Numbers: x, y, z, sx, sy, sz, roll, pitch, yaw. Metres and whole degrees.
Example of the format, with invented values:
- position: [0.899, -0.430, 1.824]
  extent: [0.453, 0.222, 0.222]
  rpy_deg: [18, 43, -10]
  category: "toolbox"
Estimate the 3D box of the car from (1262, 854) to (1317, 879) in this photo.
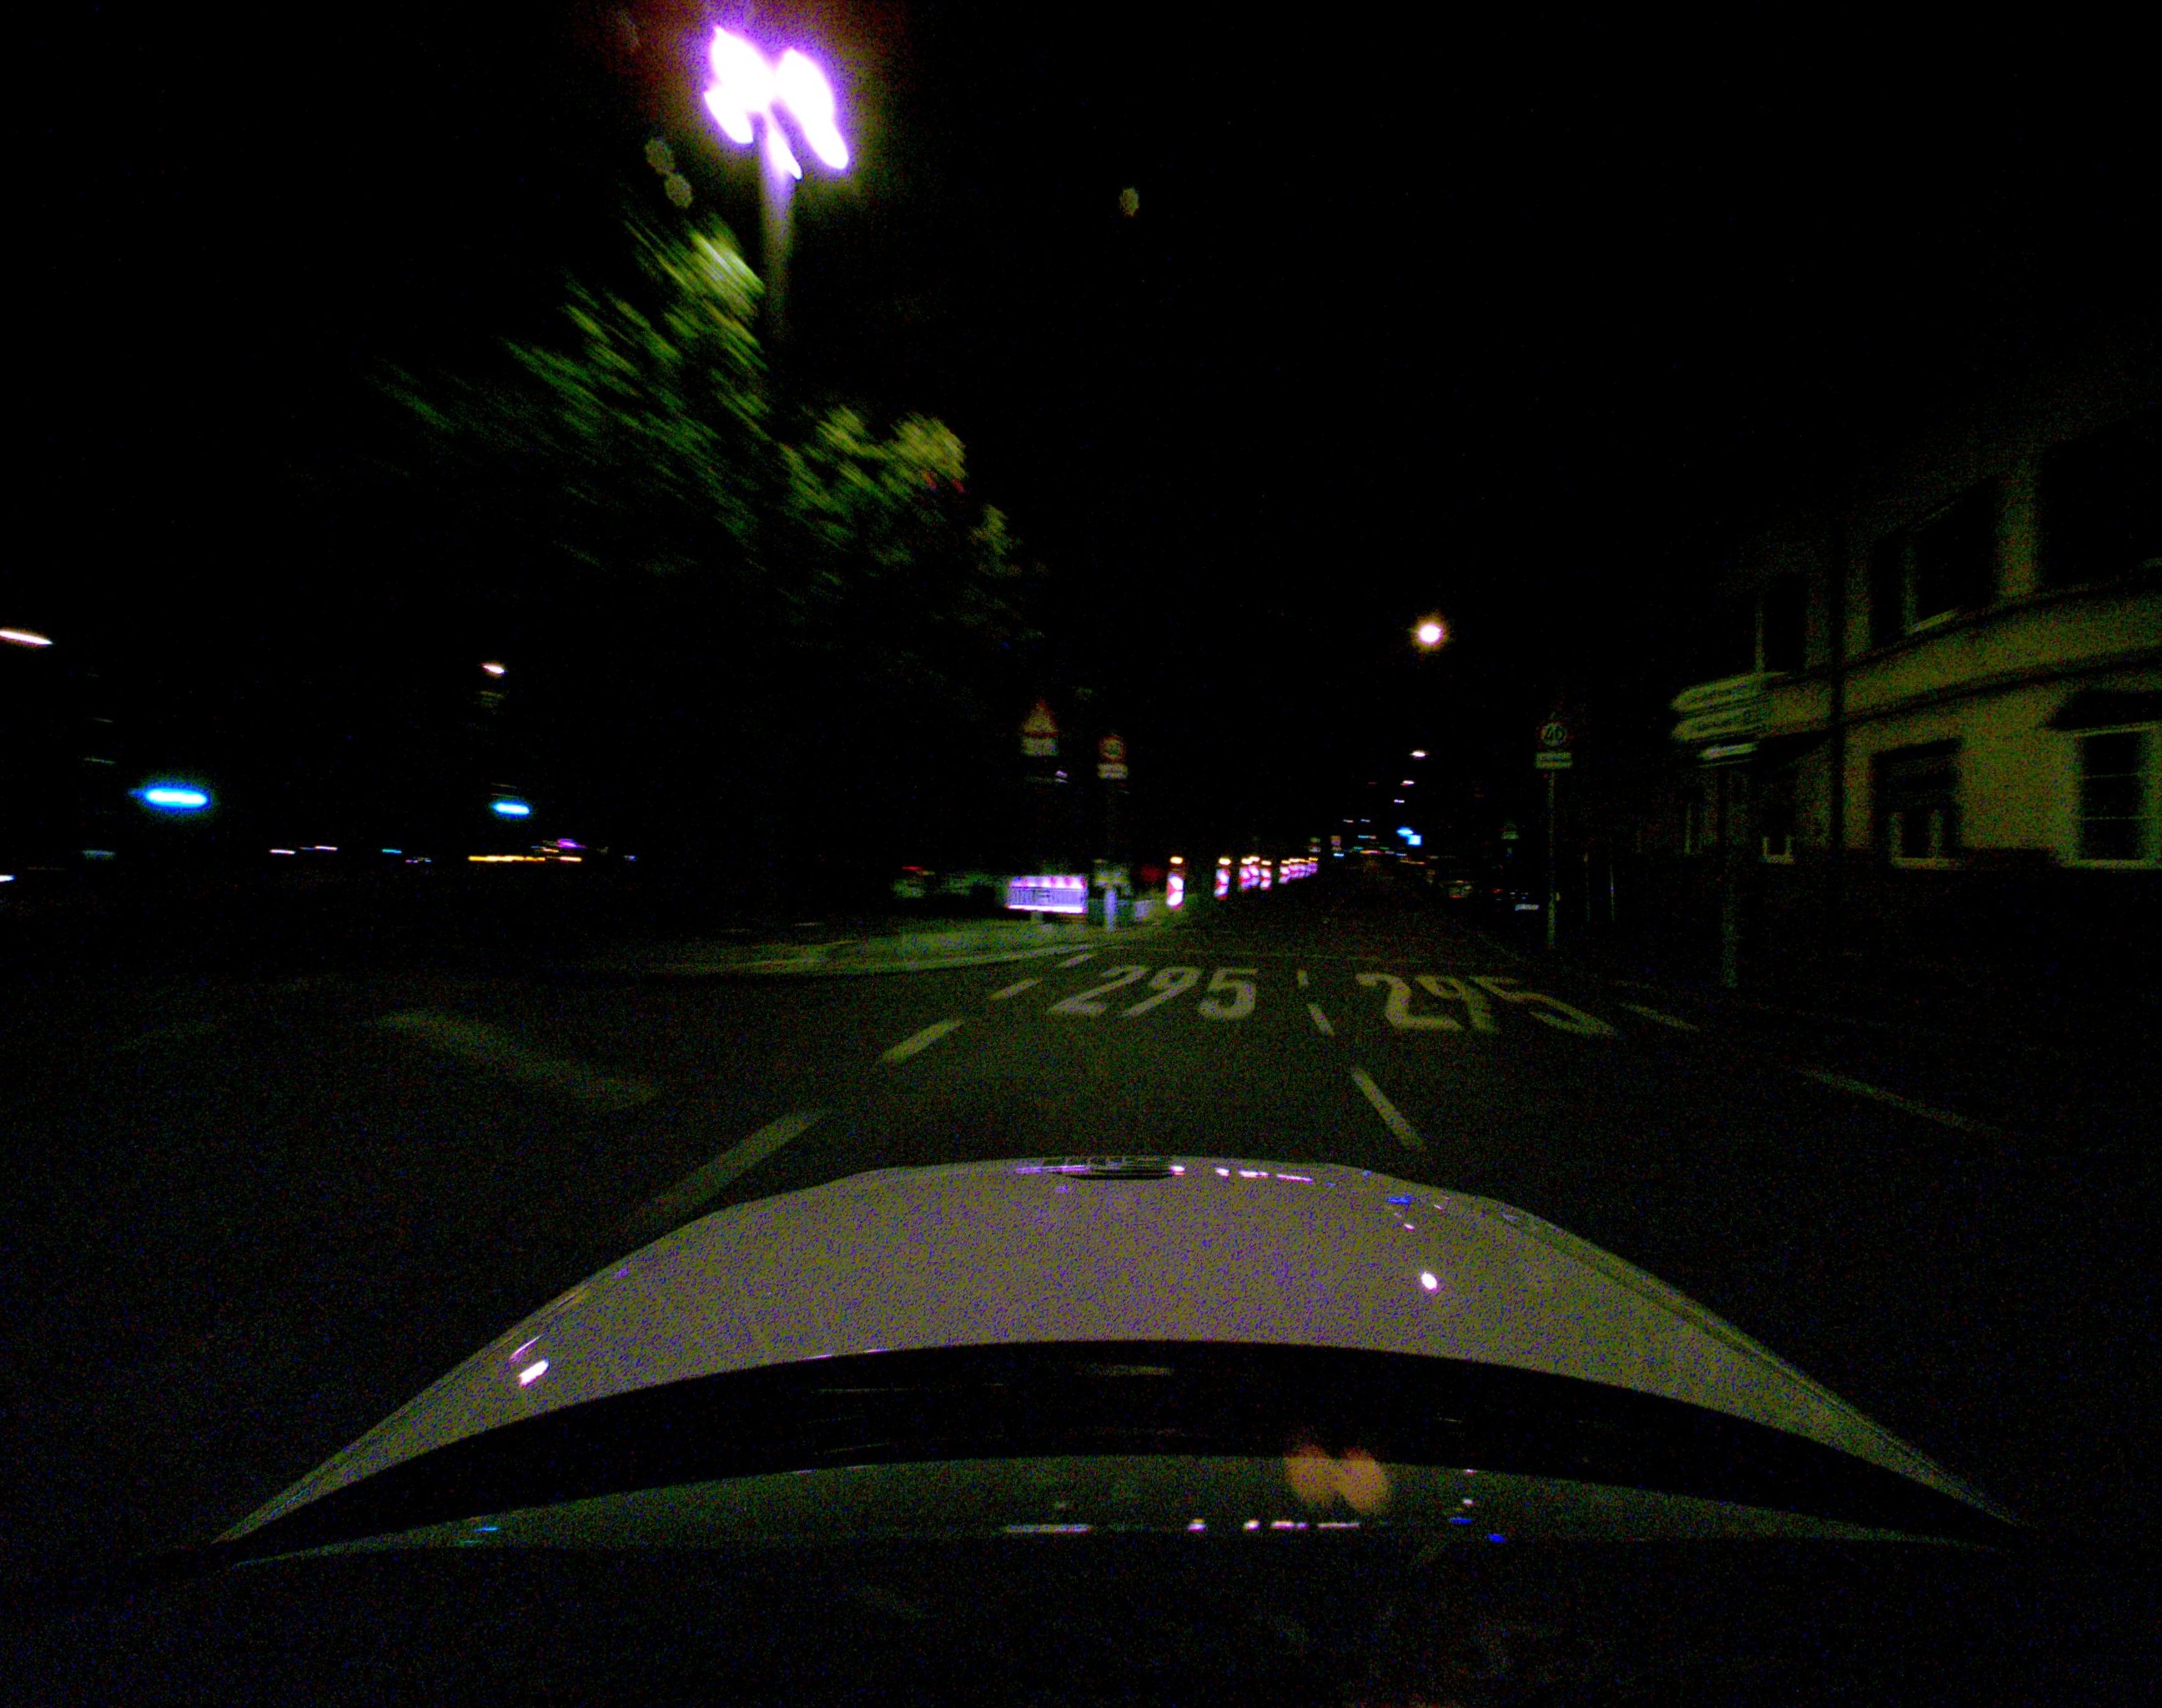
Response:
- position: [16.972, 1.019, 66.404]
  extent: [3.949, 1.889, 1.921]
  rpy_deg: [1, 0, 32]
  category: "car"

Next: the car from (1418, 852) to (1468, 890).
- position: [19.568, 0.910, 44.250]
  extent: [2.055, 1.928, 5.396]
  rpy_deg: [-1, -1, 19]
  category: "car"

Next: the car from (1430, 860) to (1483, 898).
- position: [16.805, 1.093, 36.601]
  extent: [1.729, 1.566, 4.231]
  rpy_deg: [-1, -1, 19]
  category: "car"

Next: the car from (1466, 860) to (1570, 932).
- position: [11.383, 1.030, 21.491]
  extent: [1.729, 1.683, 4.278]
  rpy_deg: [-1, -1, 19]
  category: "car"

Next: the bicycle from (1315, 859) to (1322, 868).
- position: [28.832, 1.199, 98.837]
  extent: [0.614, 1.051, 1.730]
  rpy_deg: [1, 0, 20]
  category: "bicycle"

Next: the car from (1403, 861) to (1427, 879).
- position: [27.946, 1.281, 68.201]
  extent: [1.764, 1.426, 4.503]
  rpy_deg: [1, 0, 21]
  category: "car"

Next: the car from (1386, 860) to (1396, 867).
- position: [68.068, 2.108, 178.652]
  extent: [1.976, 1.516, 4.021]
  rpy_deg: [1, 1, 21]
  category: "car"

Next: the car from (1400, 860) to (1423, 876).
- position: [30.383, 1.246, 74.991]
  extent: [1.764, 1.426, 3.910]
  rpy_deg: [1, 0, 19]
  category: "car"

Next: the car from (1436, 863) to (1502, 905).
- position: [14.892, 1.105, 31.497]
  extent: [1.729, 1.509, 4.857]
  rpy_deg: [-1, -1, 19]
  category: "car"

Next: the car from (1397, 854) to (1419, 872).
- position: [35.576, 0.953, 88.693]
  extent: [1.786, 1.875, 4.795]
  rpy_deg: [-2, 0, 17]
  category: "car"

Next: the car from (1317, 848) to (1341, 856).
- position: [48.542, -0.319, 159.393]
  extent: [4.402, 1.449, 2.010]
  rpy_deg: [1, 0, 19]
  category: "car"

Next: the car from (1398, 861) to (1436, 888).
- position: [21.088, 1.262, 51.188]
  extent: [1.805, 1.599, 4.239]
  rpy_deg: [-2, -1, 17]
  category: "car"

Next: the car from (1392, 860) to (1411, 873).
- position: [36.805, 1.376, 93.498]
  extent: [1.801, 1.427, 4.209]
  rpy_deg: [-1, 0, 19]
  category: "car"

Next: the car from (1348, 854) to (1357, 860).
- position: [66.458, 0.700, 199.041]
  extent: [1.977, 1.502, 4.020]
  rpy_deg: [1, 0, 20]
  category: "car"
